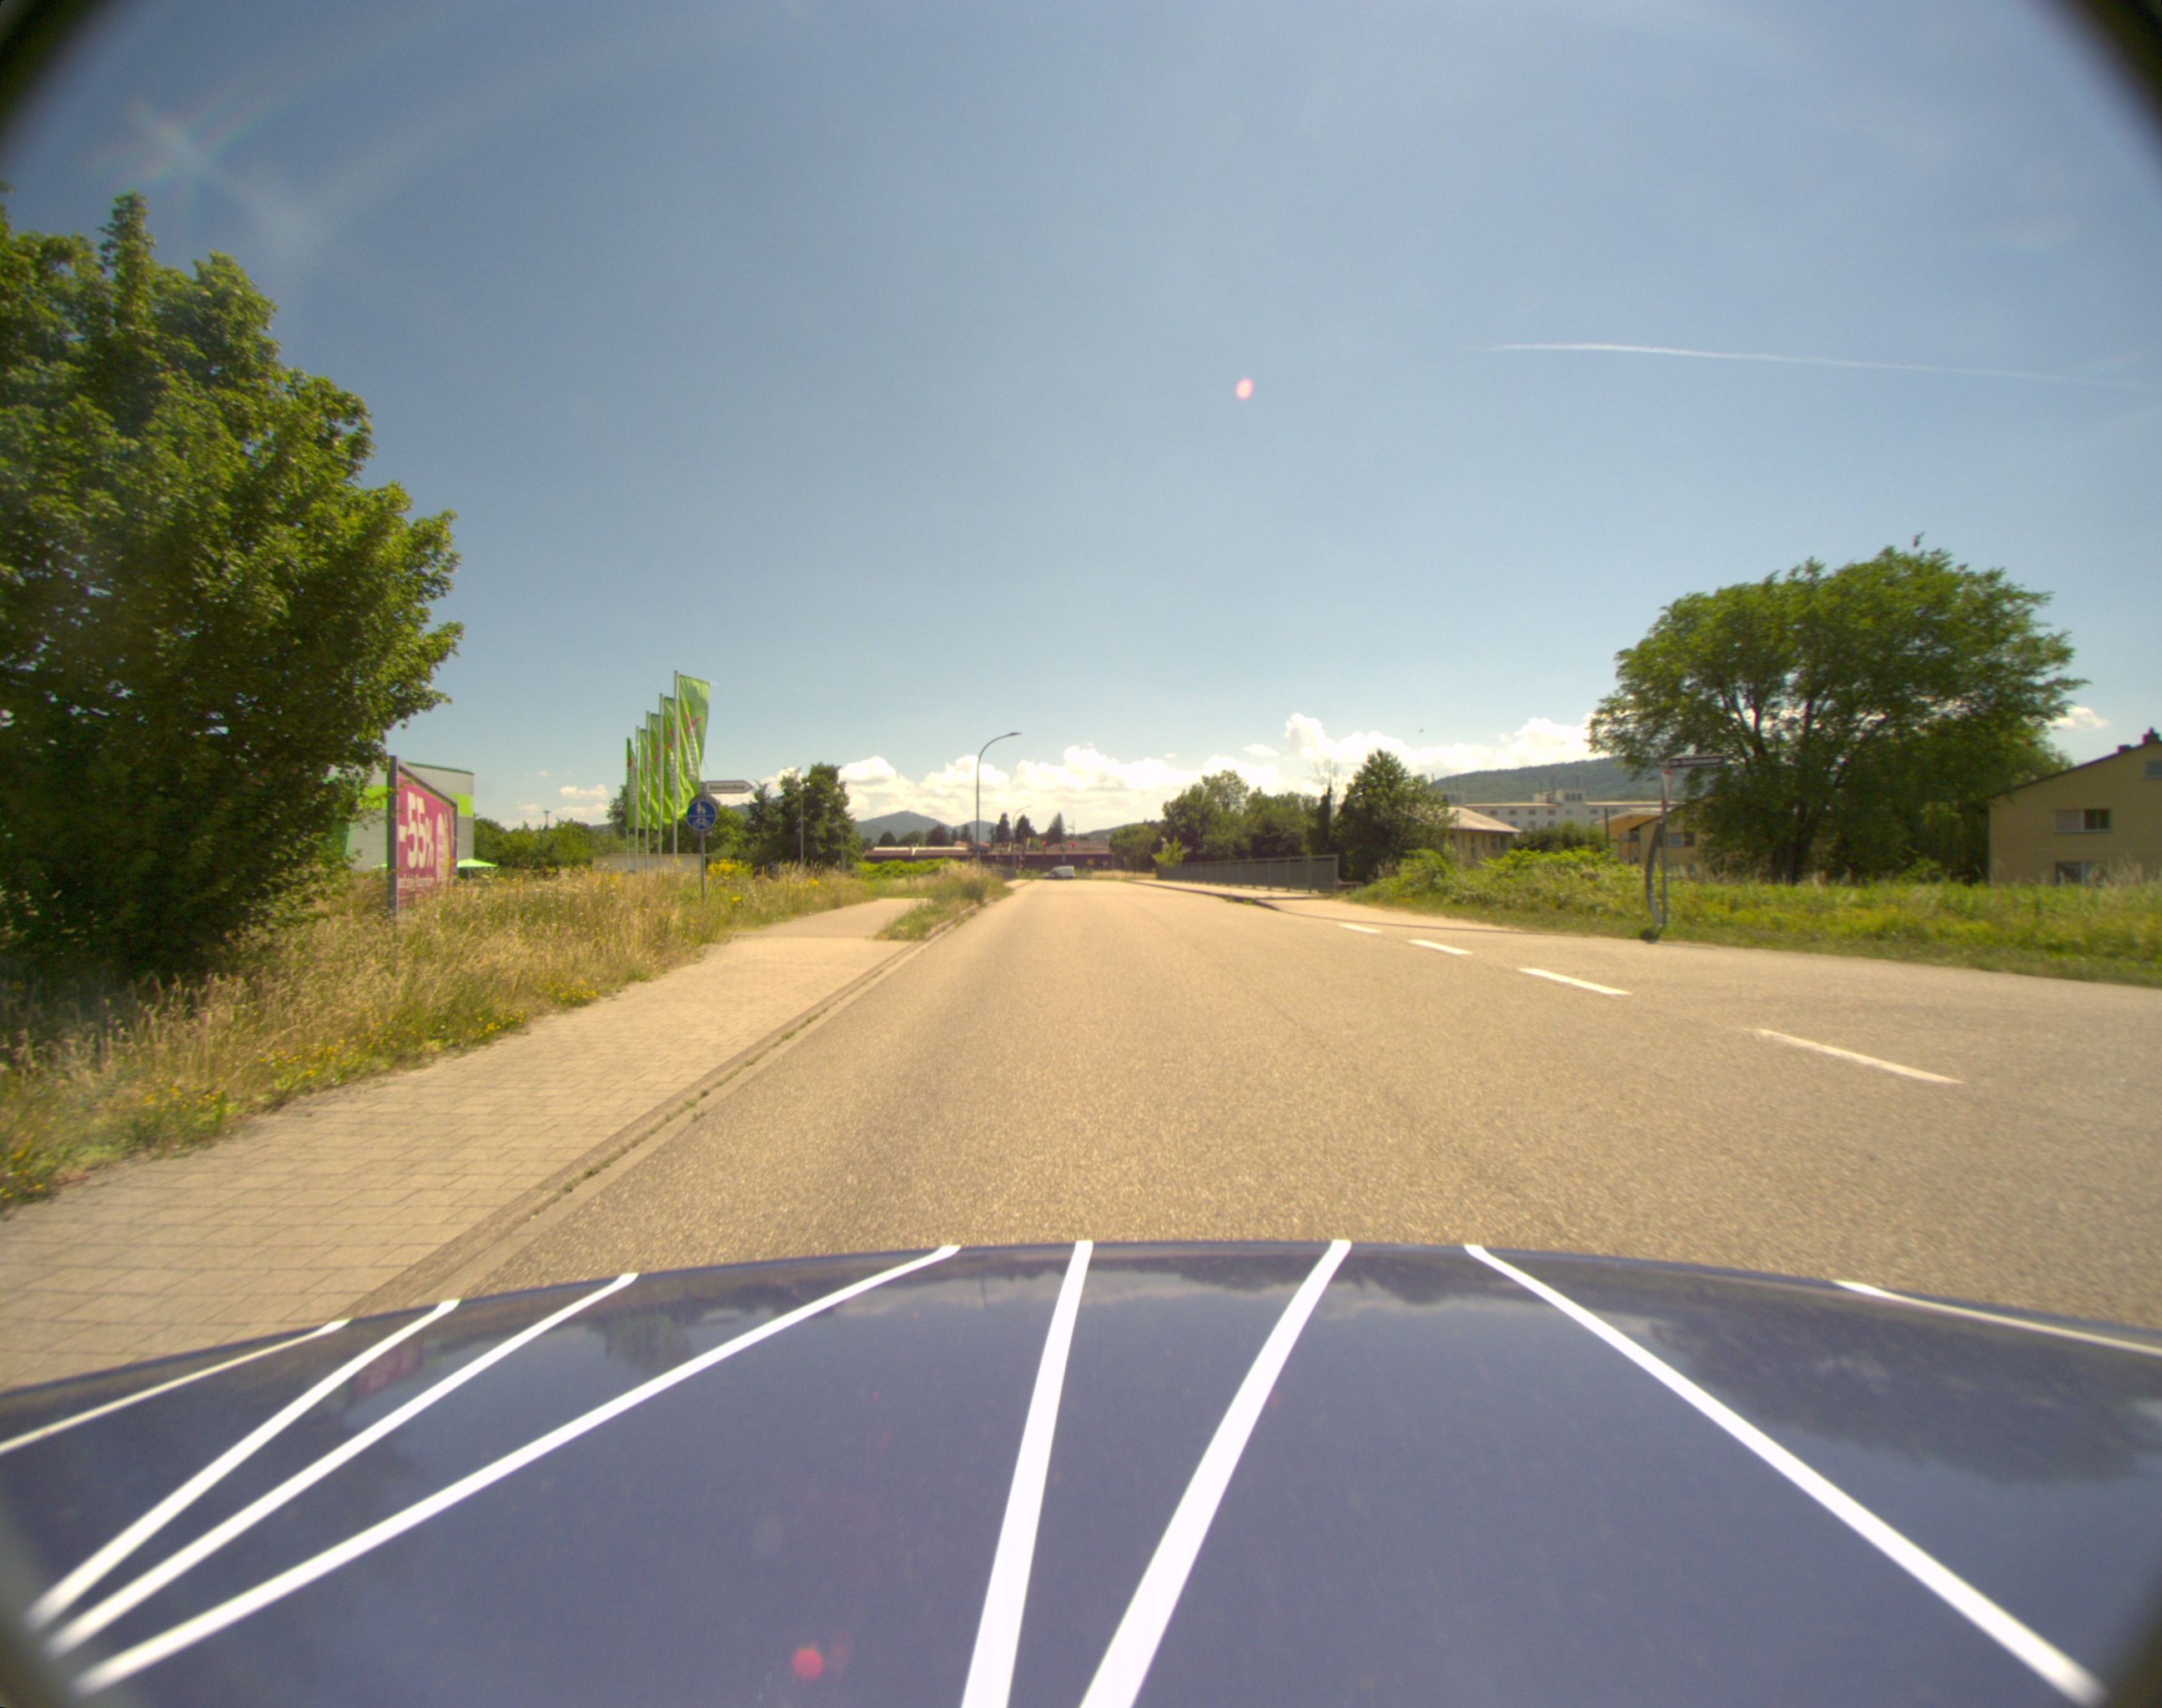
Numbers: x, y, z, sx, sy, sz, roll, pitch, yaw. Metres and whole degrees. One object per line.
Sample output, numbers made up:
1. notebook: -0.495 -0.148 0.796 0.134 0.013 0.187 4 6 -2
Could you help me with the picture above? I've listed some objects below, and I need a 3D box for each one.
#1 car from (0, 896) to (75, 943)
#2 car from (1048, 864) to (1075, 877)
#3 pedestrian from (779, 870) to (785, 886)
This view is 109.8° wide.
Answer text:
1. car: -38.503 2.262 26.682 3.995 1.453 1.948 0 1 4
2. car: -3.573 3.032 140.071 4.677 2.320 2.000 -2 1 4
3. pedestrian: -29.065 2.377 73.837 0.439 1.529 0.413 -2 -2 -30
